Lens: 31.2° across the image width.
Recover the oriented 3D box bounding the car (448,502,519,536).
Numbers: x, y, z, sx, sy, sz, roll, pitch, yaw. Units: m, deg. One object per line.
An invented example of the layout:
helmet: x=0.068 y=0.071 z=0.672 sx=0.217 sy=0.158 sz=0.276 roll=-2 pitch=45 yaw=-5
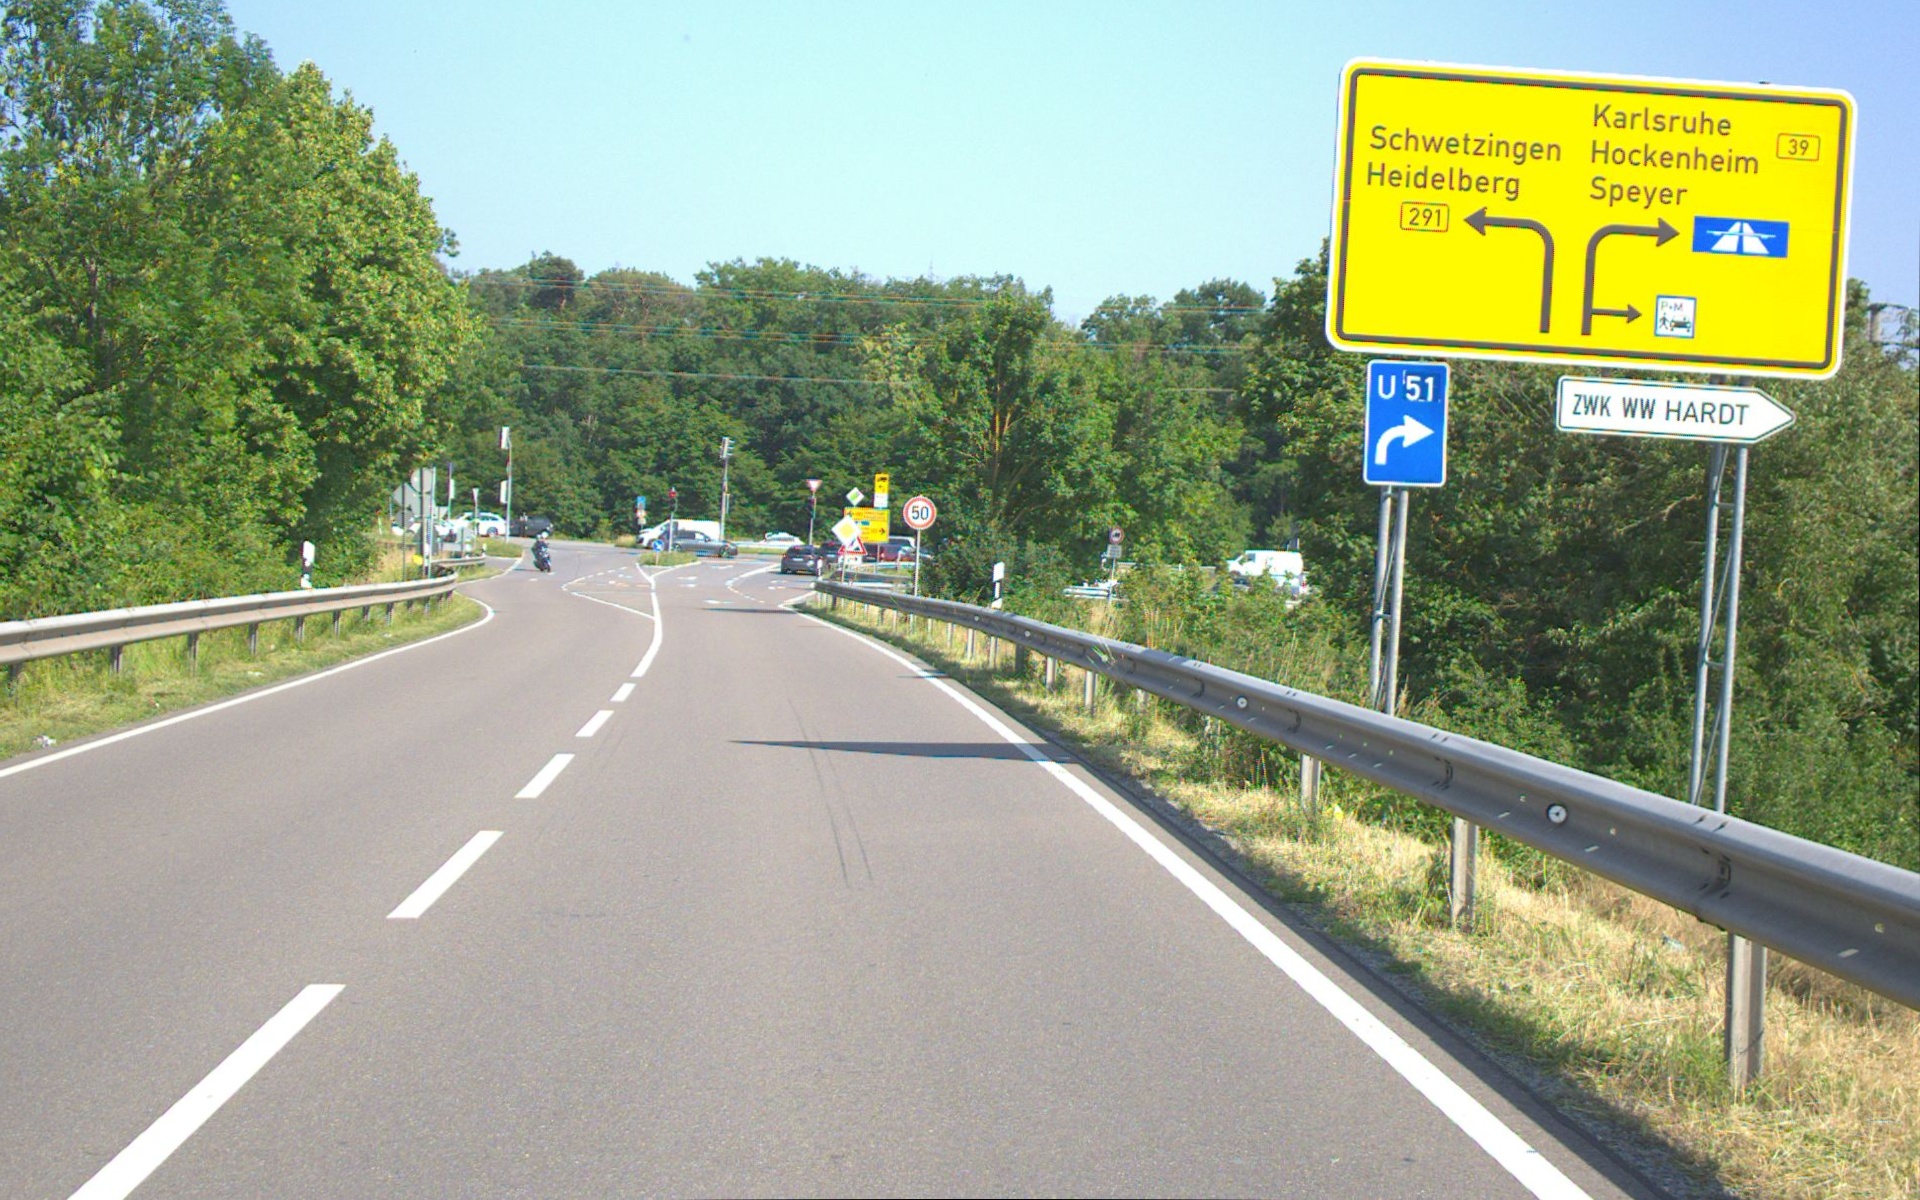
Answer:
car: x=-29.634 y=-5.031 z=213.882 sx=3.986 sy=2.007 sz=1.796 roll=0 pitch=1 yaw=-25

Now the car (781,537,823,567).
car: x=-7.851 y=-2.400 z=171.062 sx=1.799 sy=1.393 sz=4.000 roll=-3 pitch=1 yaw=1

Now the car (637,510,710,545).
car: x=-16.878 y=-4.282 z=202.541 sx=3.986 sy=2.007 sz=2.001 roll=1 pitch=1 yaw=-14

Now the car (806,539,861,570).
car: x=-6.553 y=-2.369 z=178.338 sx=1.800 sy=1.495 sz=3.998 roll=3 pitch=1 yaw=13
